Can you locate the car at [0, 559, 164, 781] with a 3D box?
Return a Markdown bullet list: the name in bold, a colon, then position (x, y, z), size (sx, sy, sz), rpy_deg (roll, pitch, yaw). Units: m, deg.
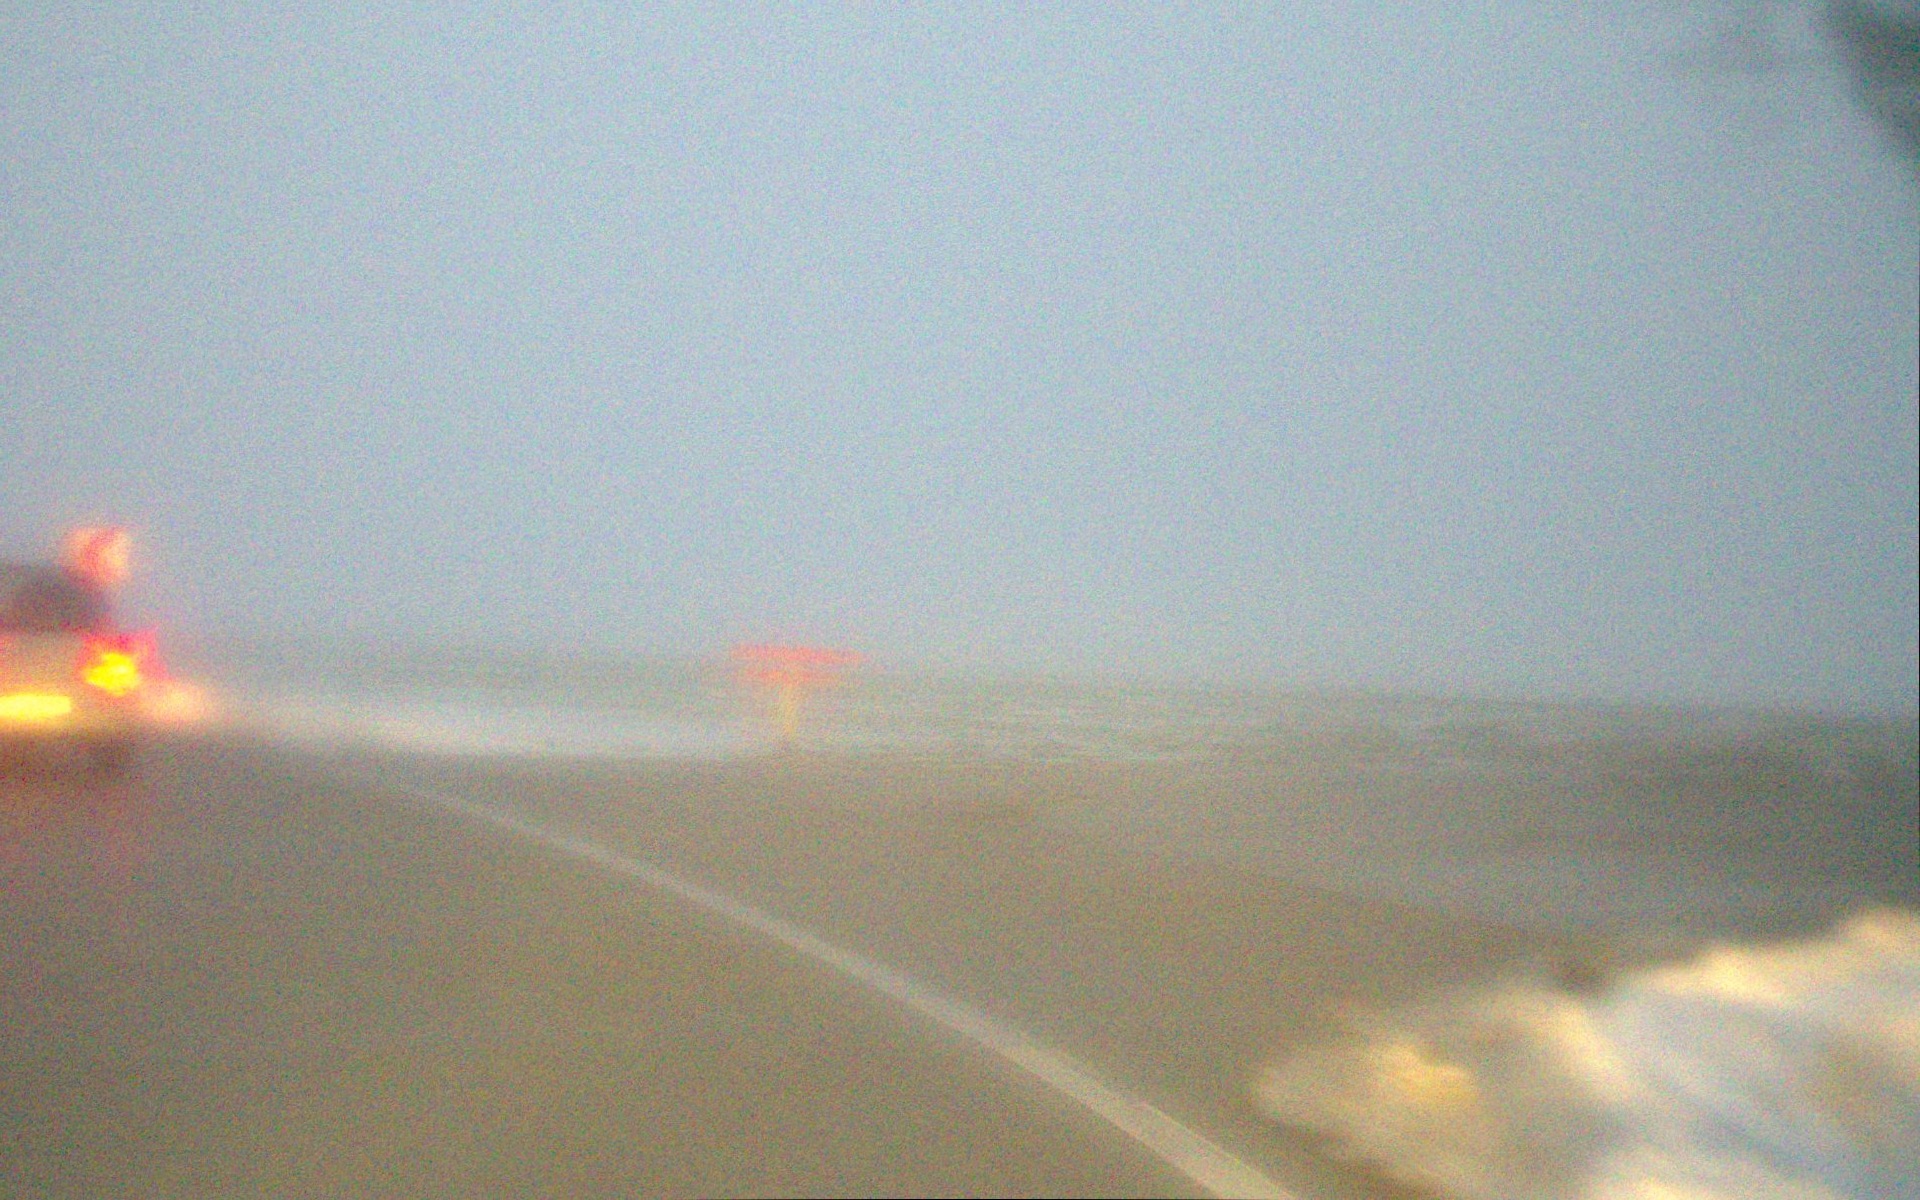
- **car**: position (-6.647, 0.413, 23.391), size (1.945, 1.376, 4.001), rpy_deg (0, 1, -20)
